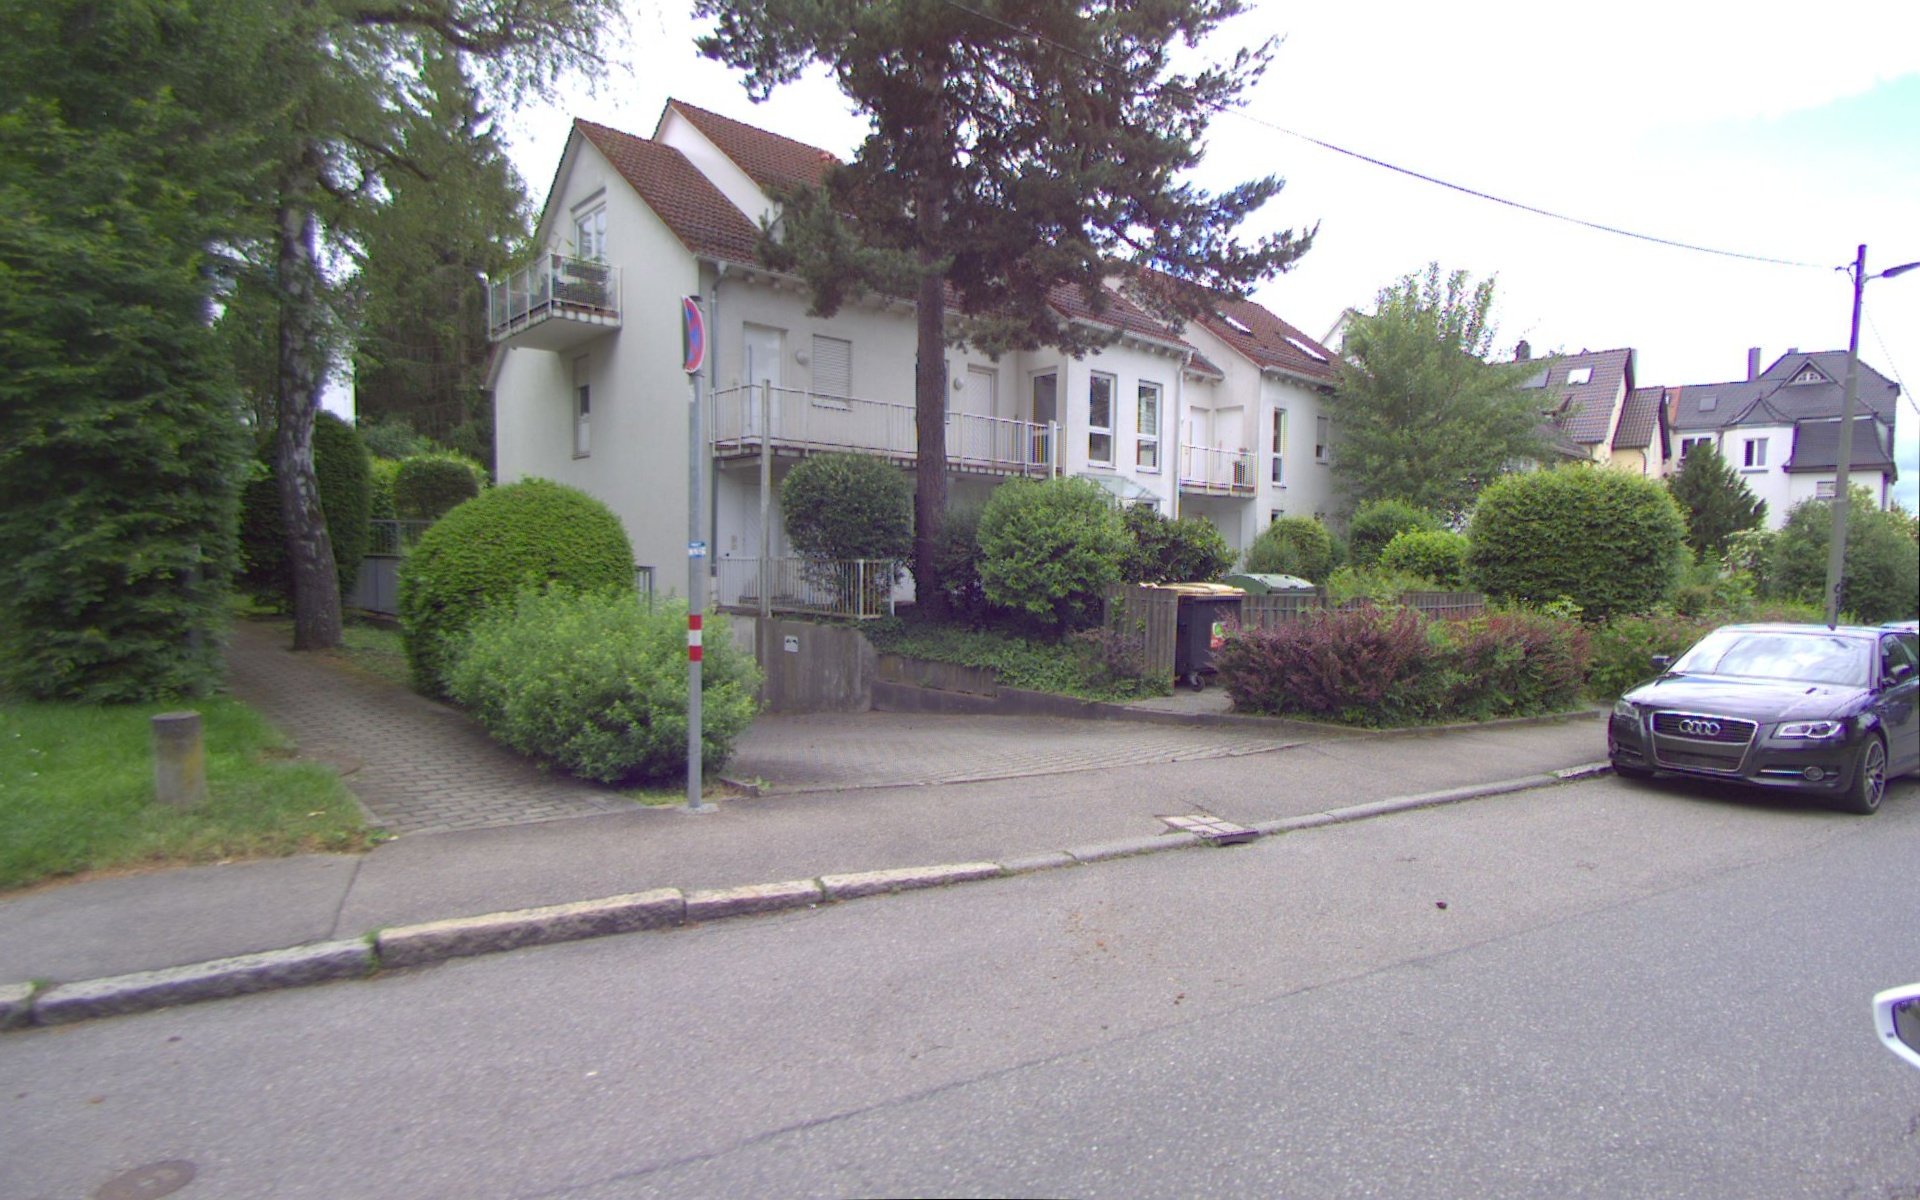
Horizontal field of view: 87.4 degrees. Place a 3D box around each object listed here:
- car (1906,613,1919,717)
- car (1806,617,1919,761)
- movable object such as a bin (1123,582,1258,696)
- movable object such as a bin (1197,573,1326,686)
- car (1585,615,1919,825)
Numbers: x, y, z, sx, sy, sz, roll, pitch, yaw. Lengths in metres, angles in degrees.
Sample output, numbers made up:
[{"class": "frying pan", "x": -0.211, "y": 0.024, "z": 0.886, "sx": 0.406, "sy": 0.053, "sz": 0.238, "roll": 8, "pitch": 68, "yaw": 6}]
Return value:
[{"class": "car", "x": 15.969, "y": 0.999, "z": 15.129, "sx": 4.087, "sy": 1.500, "sz": 1.749, "roll": 1, "pitch": 1, "yaw": -36}, {"class": "car", "x": 11.711, "y": 0.979, "z": 11.833, "sx": 4.290, "sy": 1.461, "sz": 1.638, "roll": 1, "pitch": 1, "yaw": -36}, {"class": "movable object such as a bin", "x": 3.051, "y": 0.469, "z": 13.319, "sx": 1.380, "sy": 1.382, "sz": 1.105, "roll": -1, "pitch": 3, "yaw": -37}, {"class": "movable object such as a bin", "x": 4.265, "y": 0.373, "z": 14.209, "sx": 1.439, "sy": 1.487, "sz": 1.085, "roll": -1, "pitch": 3, "yaw": -37}, {"class": "car", "x": 7.642, "y": 0.894, "z": 9.101, "sx": 4.458, "sy": 1.437, "sz": 1.724, "roll": 1, "pitch": 1, "yaw": -35}]
